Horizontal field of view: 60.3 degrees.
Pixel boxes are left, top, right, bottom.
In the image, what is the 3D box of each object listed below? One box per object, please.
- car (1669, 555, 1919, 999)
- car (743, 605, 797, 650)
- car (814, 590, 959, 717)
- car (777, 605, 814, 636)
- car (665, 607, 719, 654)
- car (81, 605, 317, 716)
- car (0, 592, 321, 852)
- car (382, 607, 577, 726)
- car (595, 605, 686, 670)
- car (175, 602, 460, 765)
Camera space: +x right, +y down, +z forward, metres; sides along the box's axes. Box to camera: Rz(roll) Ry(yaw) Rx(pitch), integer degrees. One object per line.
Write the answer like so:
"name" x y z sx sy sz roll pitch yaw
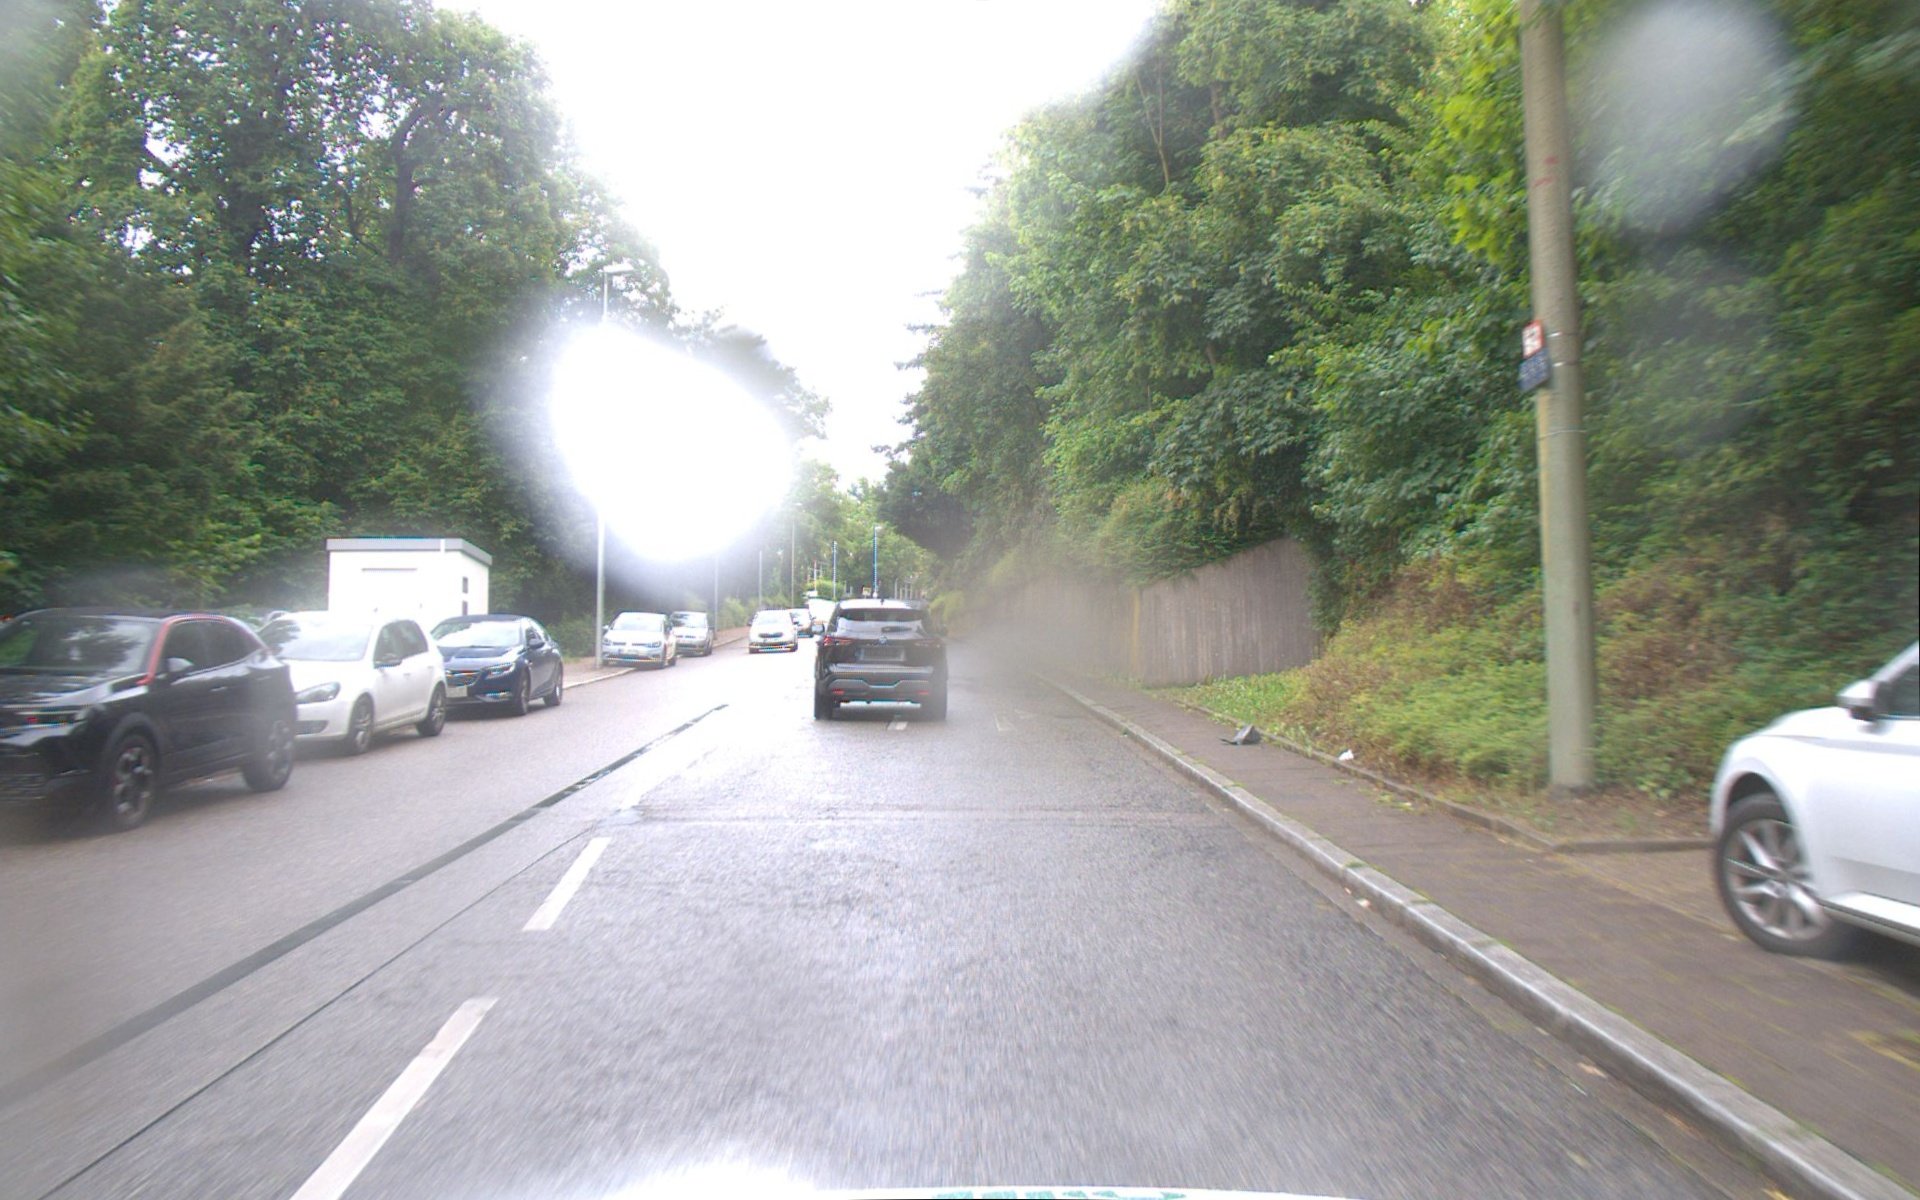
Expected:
"car" 4.078 0.559 5.076 1.703 1.503 4.739 -3 0 0
"car" -6.778 0.963 59.389 1.691 1.460 3.909 -3 0 -4
"car" -1.101 0.698 23.521 1.890 1.641 3.996 0 0 -4
"car" -8.429 1.030 85.003 1.726 1.517 3.996 -2 0 -5
"car" -9.296 1.033 57.641 1.595 1.525 3.923 2 0 -6
"car" -11.240 0.833 24.775 1.688 1.484 4.394 -1 0 -3
"car" -6.518 0.814 12.624 1.611 1.632 4.185 -3 0 -1
"car" -7.255 0.936 25.491 1.823 1.519 4.751 -4 0 -4
"car" -8.851 0.994 46.137 1.849 1.640 4.236 -3 0 -3
"car" -7.147 0.852 18.870 1.622 1.597 4.148 -1 0 0
